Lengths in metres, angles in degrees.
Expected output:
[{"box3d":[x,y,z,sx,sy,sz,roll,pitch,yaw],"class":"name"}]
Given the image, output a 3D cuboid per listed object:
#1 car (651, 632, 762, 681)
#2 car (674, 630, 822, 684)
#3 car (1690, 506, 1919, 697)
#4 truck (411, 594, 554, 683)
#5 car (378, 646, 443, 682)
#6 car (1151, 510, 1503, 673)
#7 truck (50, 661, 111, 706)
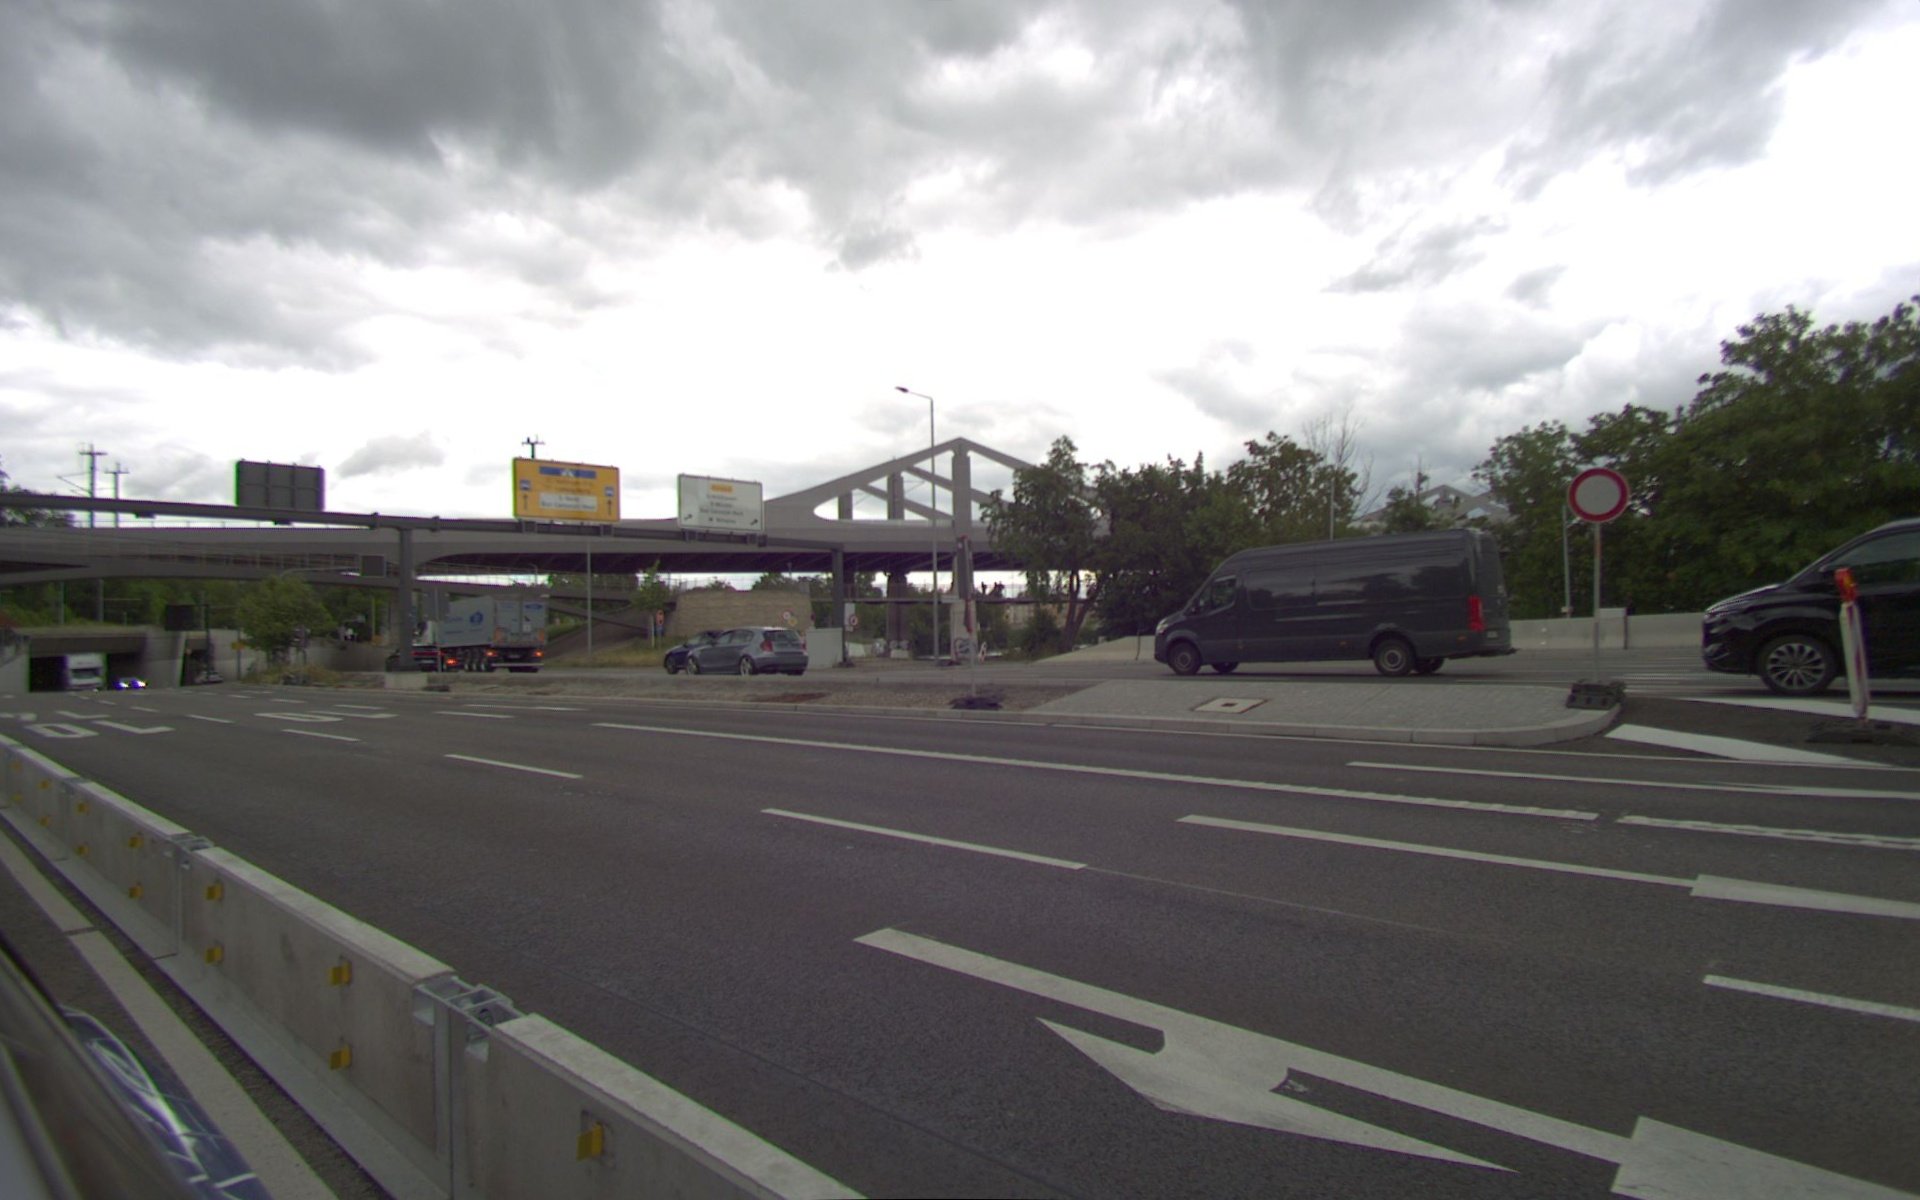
[{"box3d":[-9.663,2.161,38.434,4.486,1.696,1.866,-4,-2,42],"class":"car"},{"box3d":[-5.808,1.561,27.414,4.257,1.341,1.865,-4,-5,44],"class":"car"},{"box3d":[11.414,-0.066,11.124,5.190,2.029,1.941,-6,-2,43],"class":"car"},{"box3d":[-25.353,2.223,53.104,2.864,4.093,14.004,1,-4,-42],"class":"truck"},{"box3d":[-26.262,3.073,48.281,1.685,1.633,4.457,4,-6,-42],"class":"car"},{"box3d":[7.133,-0.018,20.286,6.143,2.798,2.191,-4,-2,42],"class":"car"},{"box3d":[-67.853,6.371,78.027,8.120,3.150,2.711,-4,-2,43],"class":"truck"}]
